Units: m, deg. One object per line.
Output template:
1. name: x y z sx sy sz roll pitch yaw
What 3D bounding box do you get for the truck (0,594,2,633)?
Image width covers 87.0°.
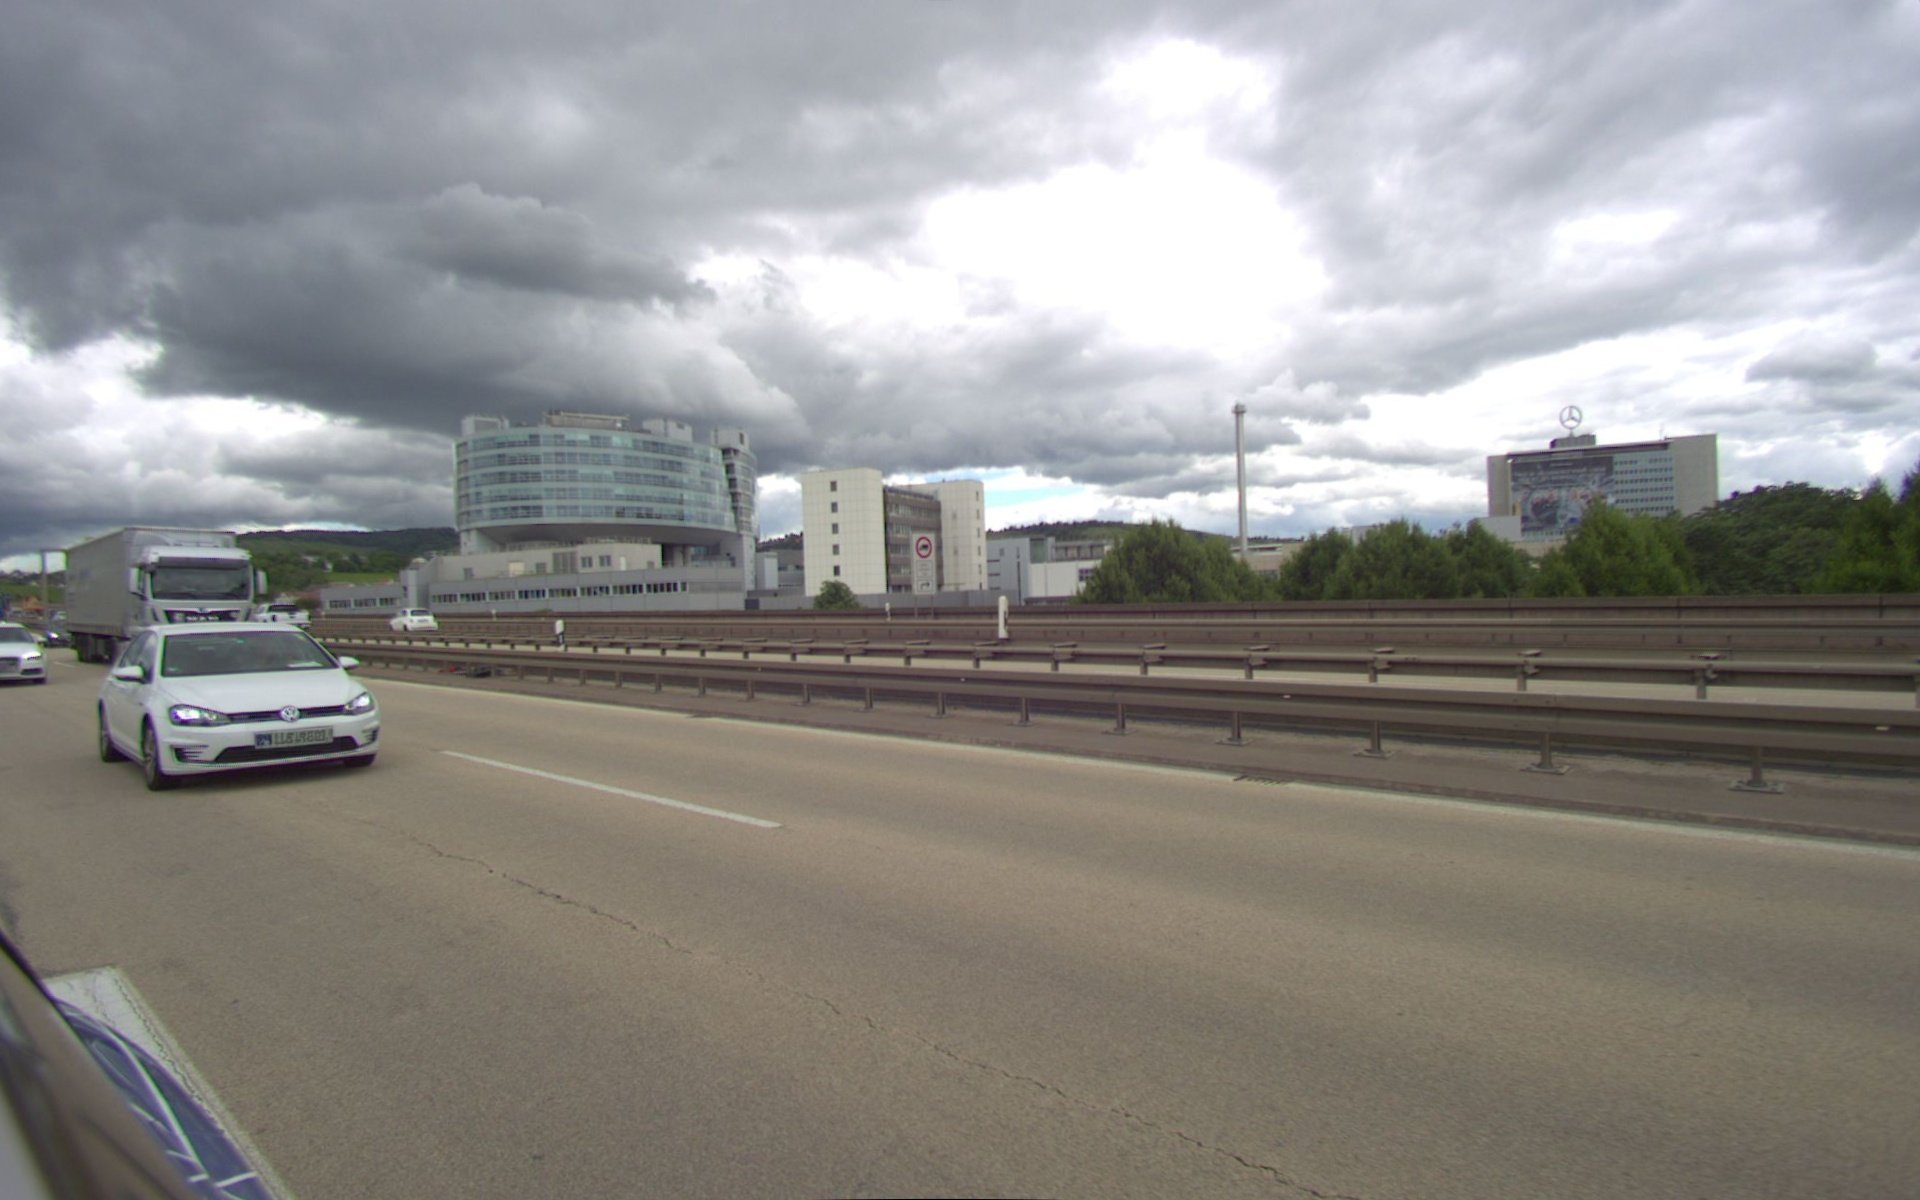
1. truck: -81.564 1.146 84.243 6.686 3.262 2.305 -1 0 43

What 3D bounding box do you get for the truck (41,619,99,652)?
1. truck: -44.110 1.738 50.153 3.513 1.541 1.805 -1 0 43

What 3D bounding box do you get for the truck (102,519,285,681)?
1. truck: -21.664 -0.017 28.516 5.689 4.067 3.100 -1 1 43

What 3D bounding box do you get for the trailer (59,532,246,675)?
1. trailer: -27.246 0.128 33.820 11.766 4.056 3.147 -1 1 43

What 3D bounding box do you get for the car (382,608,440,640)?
1. car: -30.732 1.344 56.601 3.775 1.662 1.665 -1 1 43

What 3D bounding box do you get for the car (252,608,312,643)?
1. car: -36.048 1.315 53.766 3.775 1.732 1.767 -1 1 43

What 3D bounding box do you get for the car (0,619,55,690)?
1. car: -22.533 1.238 23.459 4.061 1.519 1.905 -1 1 43

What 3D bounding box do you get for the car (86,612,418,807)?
1. car: -7.183 0.898 10.109 4.061 1.519 1.905 -1 0 43
